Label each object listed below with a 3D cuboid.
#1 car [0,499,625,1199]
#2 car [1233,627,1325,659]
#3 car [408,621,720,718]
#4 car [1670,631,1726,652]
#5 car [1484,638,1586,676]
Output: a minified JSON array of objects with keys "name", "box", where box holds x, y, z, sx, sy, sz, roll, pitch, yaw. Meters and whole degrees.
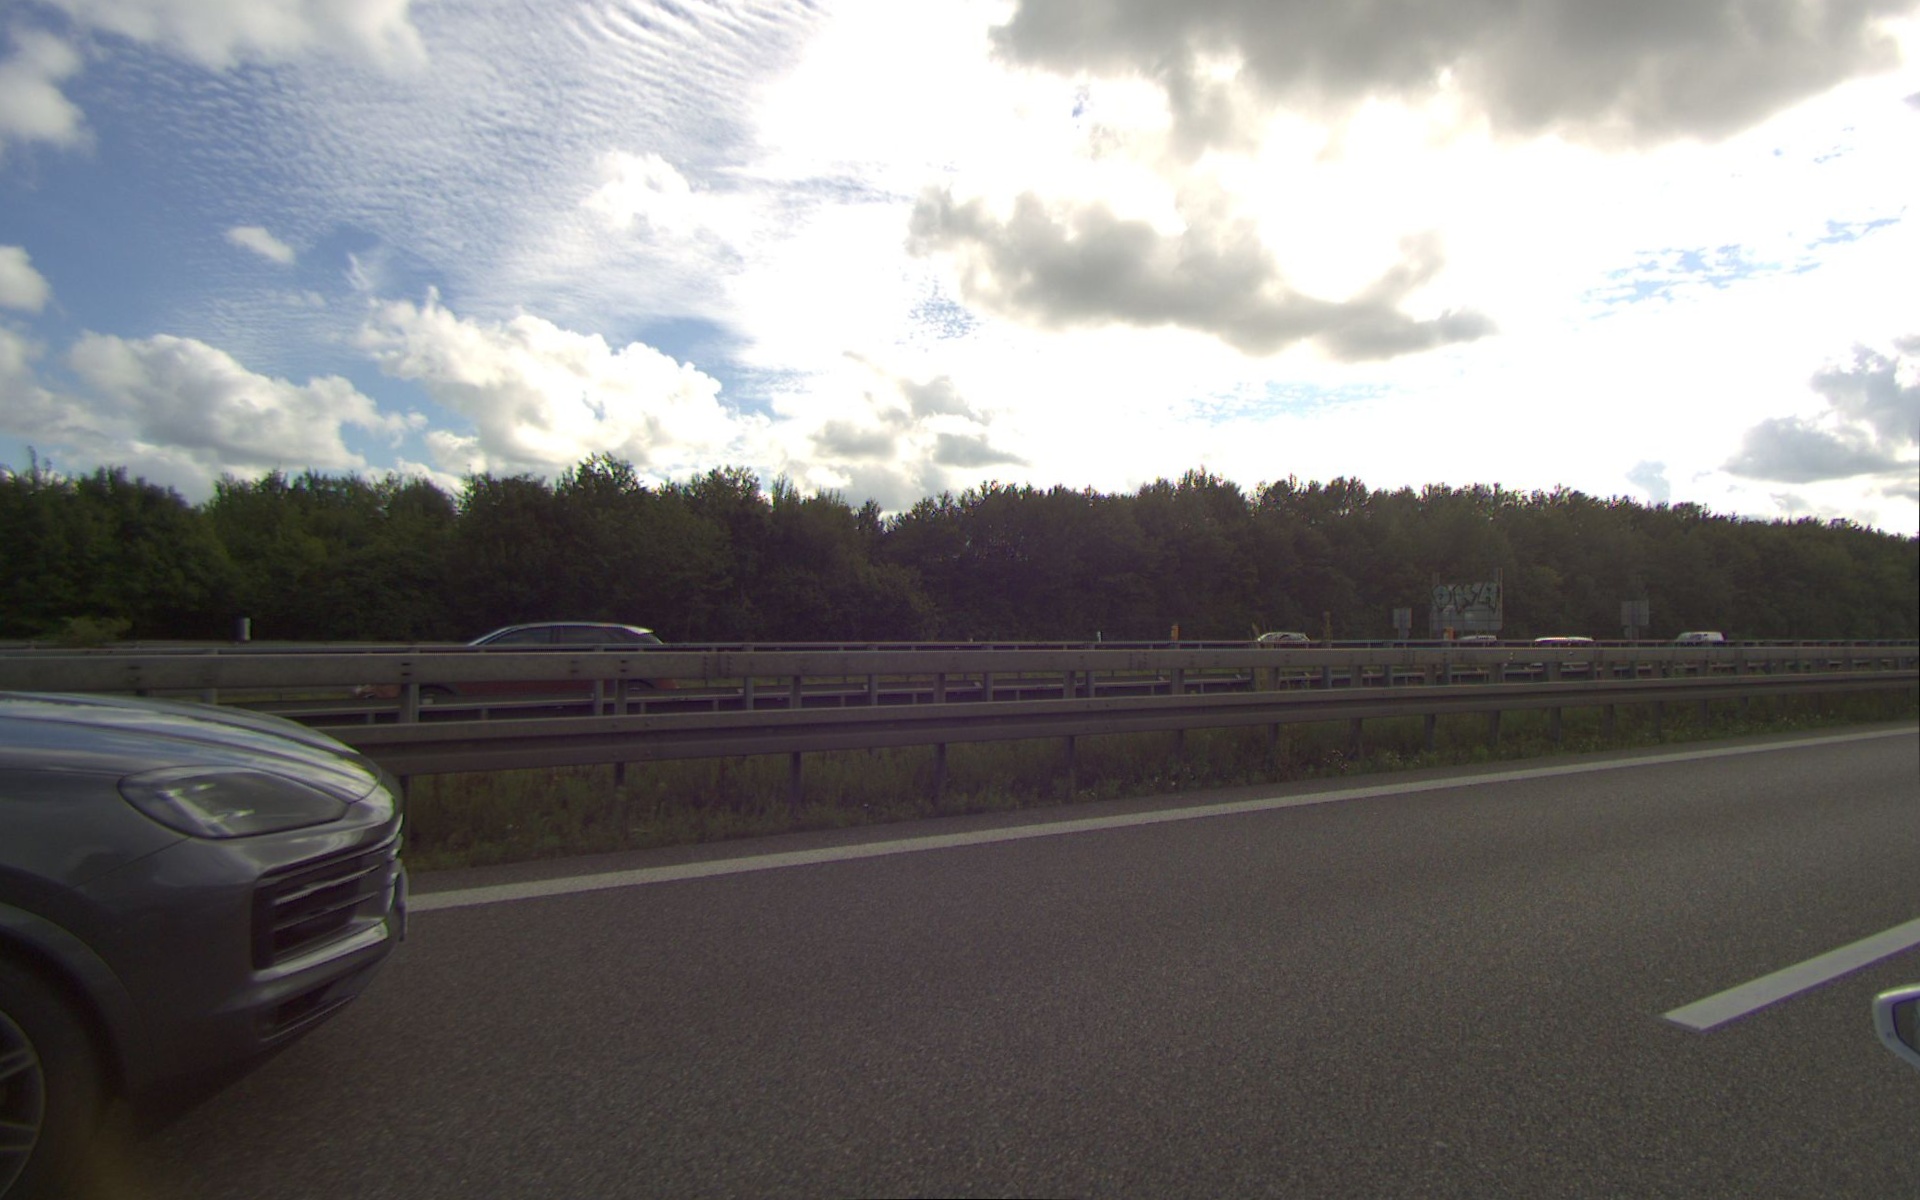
[{"name":"car","box":[-3.740,0.589,2.188,5.437,1.658,1.903,2,-1,-31]},{"name":"car","box":[16.947,2.268,53.284,4.947,1.657,1.803,1,-1,-29]},{"name":"car","box":[-5.758,0.965,14.770,4.068,1.236,1.516,1,-1,-32]},{"name":"car","box":[56.800,3.181,77.262,4.954,1.598,1.762,1,-1,-31]},{"name":"car","box":[20.421,1.986,35.654,3.832,1.236,1.516,1,-1,-32]}]
